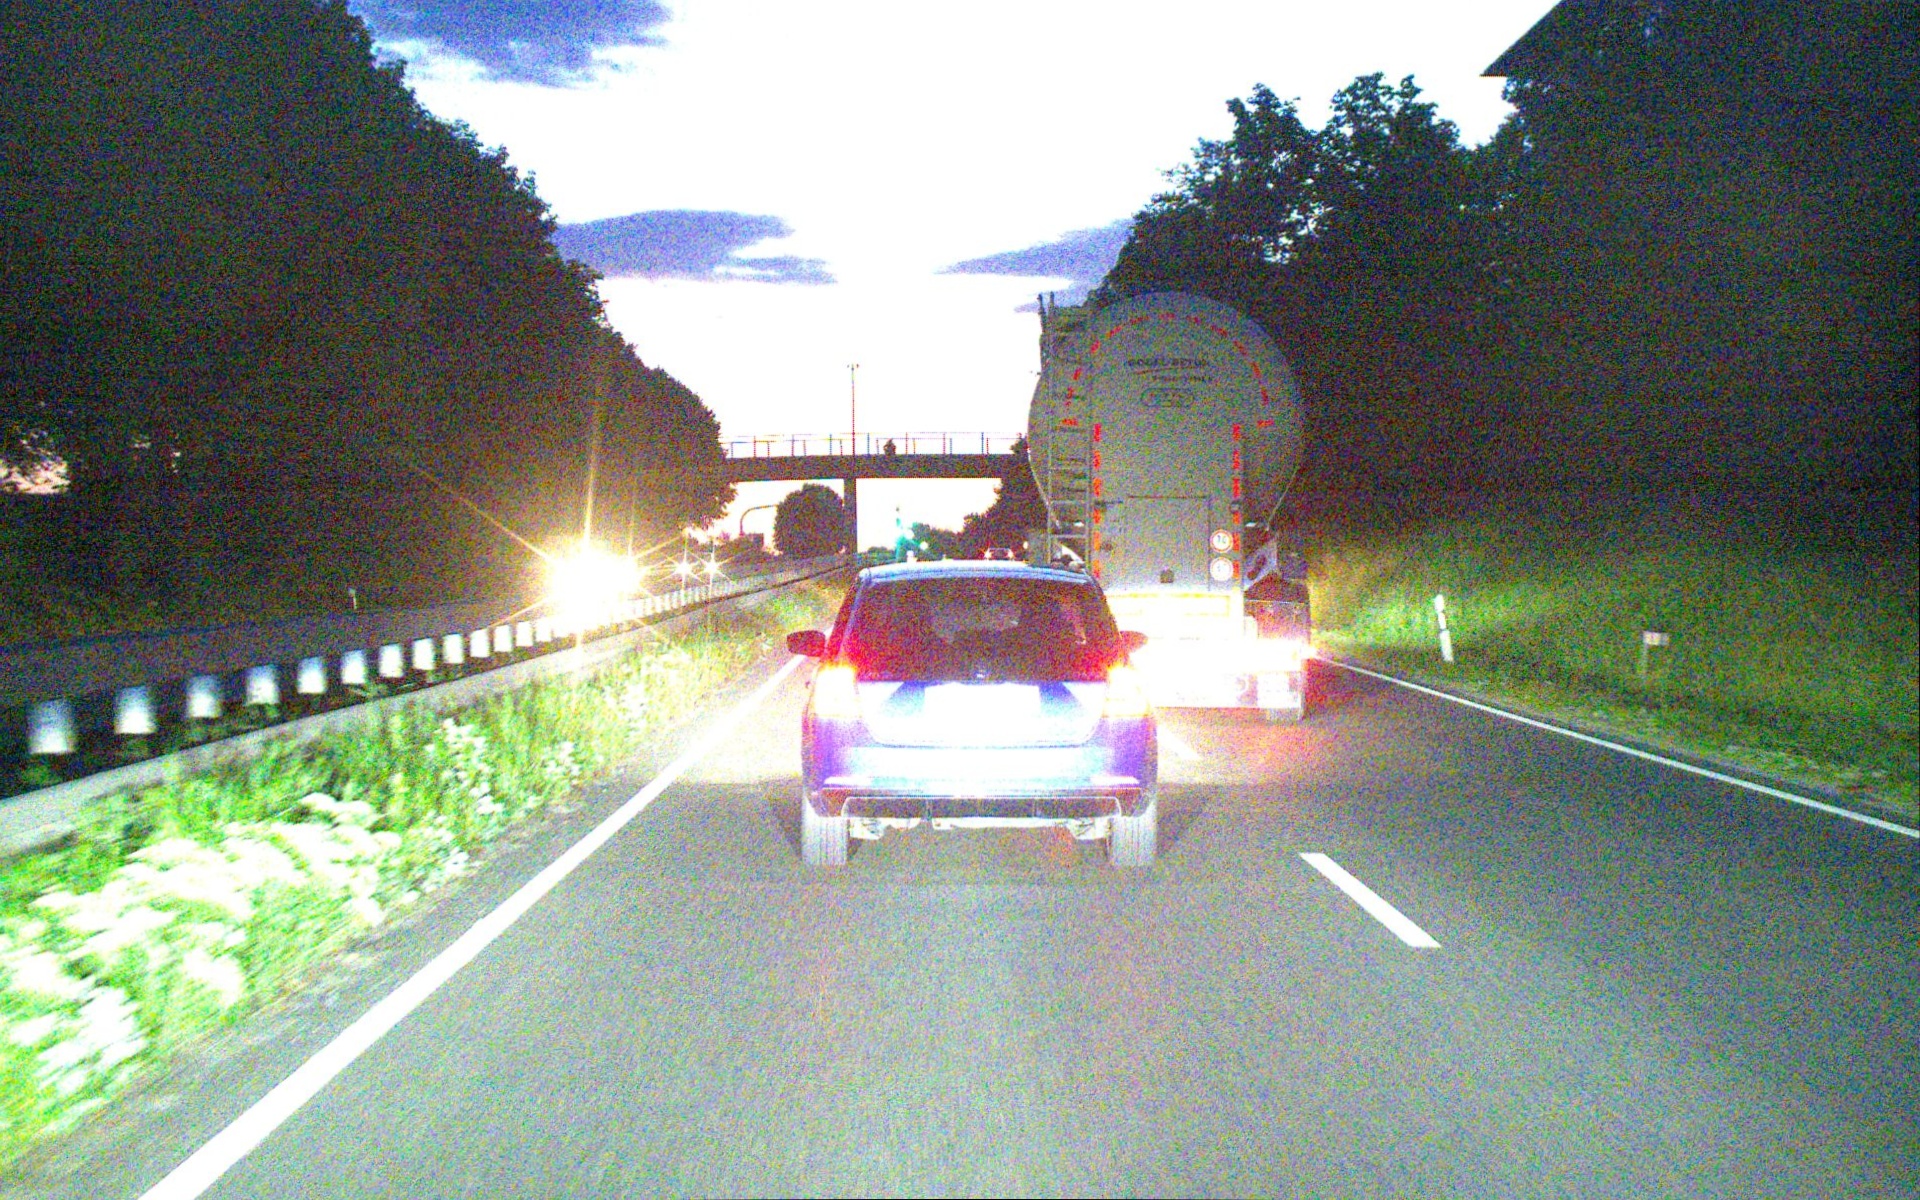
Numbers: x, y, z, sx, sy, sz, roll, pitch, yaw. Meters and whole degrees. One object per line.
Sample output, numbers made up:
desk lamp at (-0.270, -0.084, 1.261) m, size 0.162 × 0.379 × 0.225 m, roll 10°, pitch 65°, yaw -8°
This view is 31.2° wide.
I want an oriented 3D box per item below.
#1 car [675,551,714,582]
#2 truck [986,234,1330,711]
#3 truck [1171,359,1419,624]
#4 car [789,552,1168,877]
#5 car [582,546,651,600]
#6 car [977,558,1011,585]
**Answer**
car at (-13.010, -1.657, 168.596) m, size 1.617 × 1.502 × 3.869 m, roll 0°, pitch 1°, yaw -1°
truck at (1.756, -1.166, 36.243) m, size 2.687 × 4.092 × 13.142 m, roll 0°, pitch 1°, yaw -1°
truck at (5.592, -1.747, 59.734) m, size 2.883 × 4.092 × 12.684 m, roll 0°, pitch 1°, yaw -1°
car at (0.062, 0.495, 17.430) m, size 1.695 × 1.447 × 3.914 m, roll 0°, pitch 1°, yaw -1°
car at (-10.294, -0.824, 103.229) m, size 1.682 × 1.582 × 4.167 m, roll 0°, pitch 1°, yaw -1°
car at (1.822, -1.545, 184.761) m, size 1.695 × 1.447 × 3.914 m, roll 0°, pitch 1°, yaw -1°
